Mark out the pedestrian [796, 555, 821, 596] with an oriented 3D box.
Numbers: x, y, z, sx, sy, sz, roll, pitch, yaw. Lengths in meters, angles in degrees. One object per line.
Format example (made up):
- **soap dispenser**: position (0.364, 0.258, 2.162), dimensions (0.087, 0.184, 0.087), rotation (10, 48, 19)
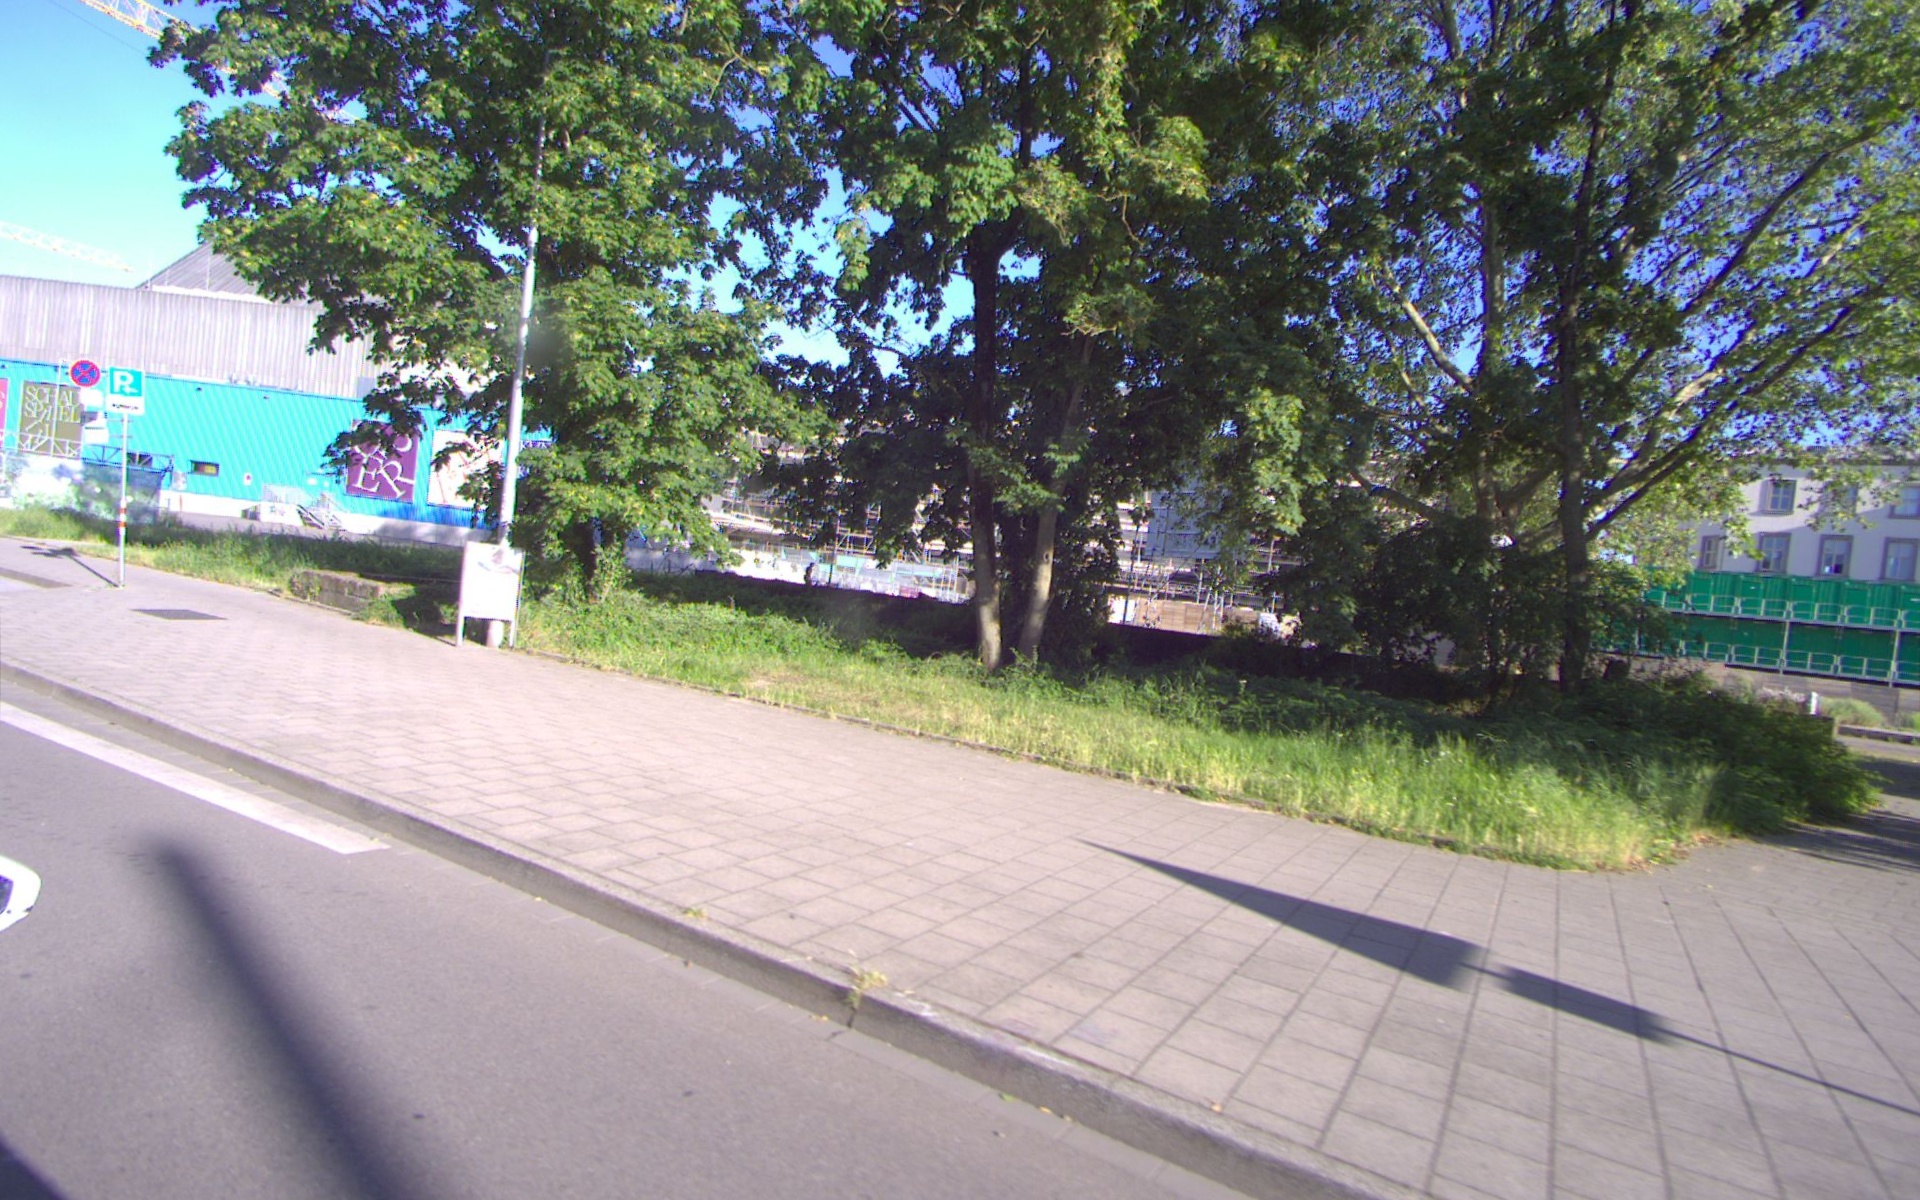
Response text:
- **pedestrian**: position (-7.875, -1.253, 52.202), dimensions (0.932, 2.039, 0.913), rotation (5, 1, 4)
